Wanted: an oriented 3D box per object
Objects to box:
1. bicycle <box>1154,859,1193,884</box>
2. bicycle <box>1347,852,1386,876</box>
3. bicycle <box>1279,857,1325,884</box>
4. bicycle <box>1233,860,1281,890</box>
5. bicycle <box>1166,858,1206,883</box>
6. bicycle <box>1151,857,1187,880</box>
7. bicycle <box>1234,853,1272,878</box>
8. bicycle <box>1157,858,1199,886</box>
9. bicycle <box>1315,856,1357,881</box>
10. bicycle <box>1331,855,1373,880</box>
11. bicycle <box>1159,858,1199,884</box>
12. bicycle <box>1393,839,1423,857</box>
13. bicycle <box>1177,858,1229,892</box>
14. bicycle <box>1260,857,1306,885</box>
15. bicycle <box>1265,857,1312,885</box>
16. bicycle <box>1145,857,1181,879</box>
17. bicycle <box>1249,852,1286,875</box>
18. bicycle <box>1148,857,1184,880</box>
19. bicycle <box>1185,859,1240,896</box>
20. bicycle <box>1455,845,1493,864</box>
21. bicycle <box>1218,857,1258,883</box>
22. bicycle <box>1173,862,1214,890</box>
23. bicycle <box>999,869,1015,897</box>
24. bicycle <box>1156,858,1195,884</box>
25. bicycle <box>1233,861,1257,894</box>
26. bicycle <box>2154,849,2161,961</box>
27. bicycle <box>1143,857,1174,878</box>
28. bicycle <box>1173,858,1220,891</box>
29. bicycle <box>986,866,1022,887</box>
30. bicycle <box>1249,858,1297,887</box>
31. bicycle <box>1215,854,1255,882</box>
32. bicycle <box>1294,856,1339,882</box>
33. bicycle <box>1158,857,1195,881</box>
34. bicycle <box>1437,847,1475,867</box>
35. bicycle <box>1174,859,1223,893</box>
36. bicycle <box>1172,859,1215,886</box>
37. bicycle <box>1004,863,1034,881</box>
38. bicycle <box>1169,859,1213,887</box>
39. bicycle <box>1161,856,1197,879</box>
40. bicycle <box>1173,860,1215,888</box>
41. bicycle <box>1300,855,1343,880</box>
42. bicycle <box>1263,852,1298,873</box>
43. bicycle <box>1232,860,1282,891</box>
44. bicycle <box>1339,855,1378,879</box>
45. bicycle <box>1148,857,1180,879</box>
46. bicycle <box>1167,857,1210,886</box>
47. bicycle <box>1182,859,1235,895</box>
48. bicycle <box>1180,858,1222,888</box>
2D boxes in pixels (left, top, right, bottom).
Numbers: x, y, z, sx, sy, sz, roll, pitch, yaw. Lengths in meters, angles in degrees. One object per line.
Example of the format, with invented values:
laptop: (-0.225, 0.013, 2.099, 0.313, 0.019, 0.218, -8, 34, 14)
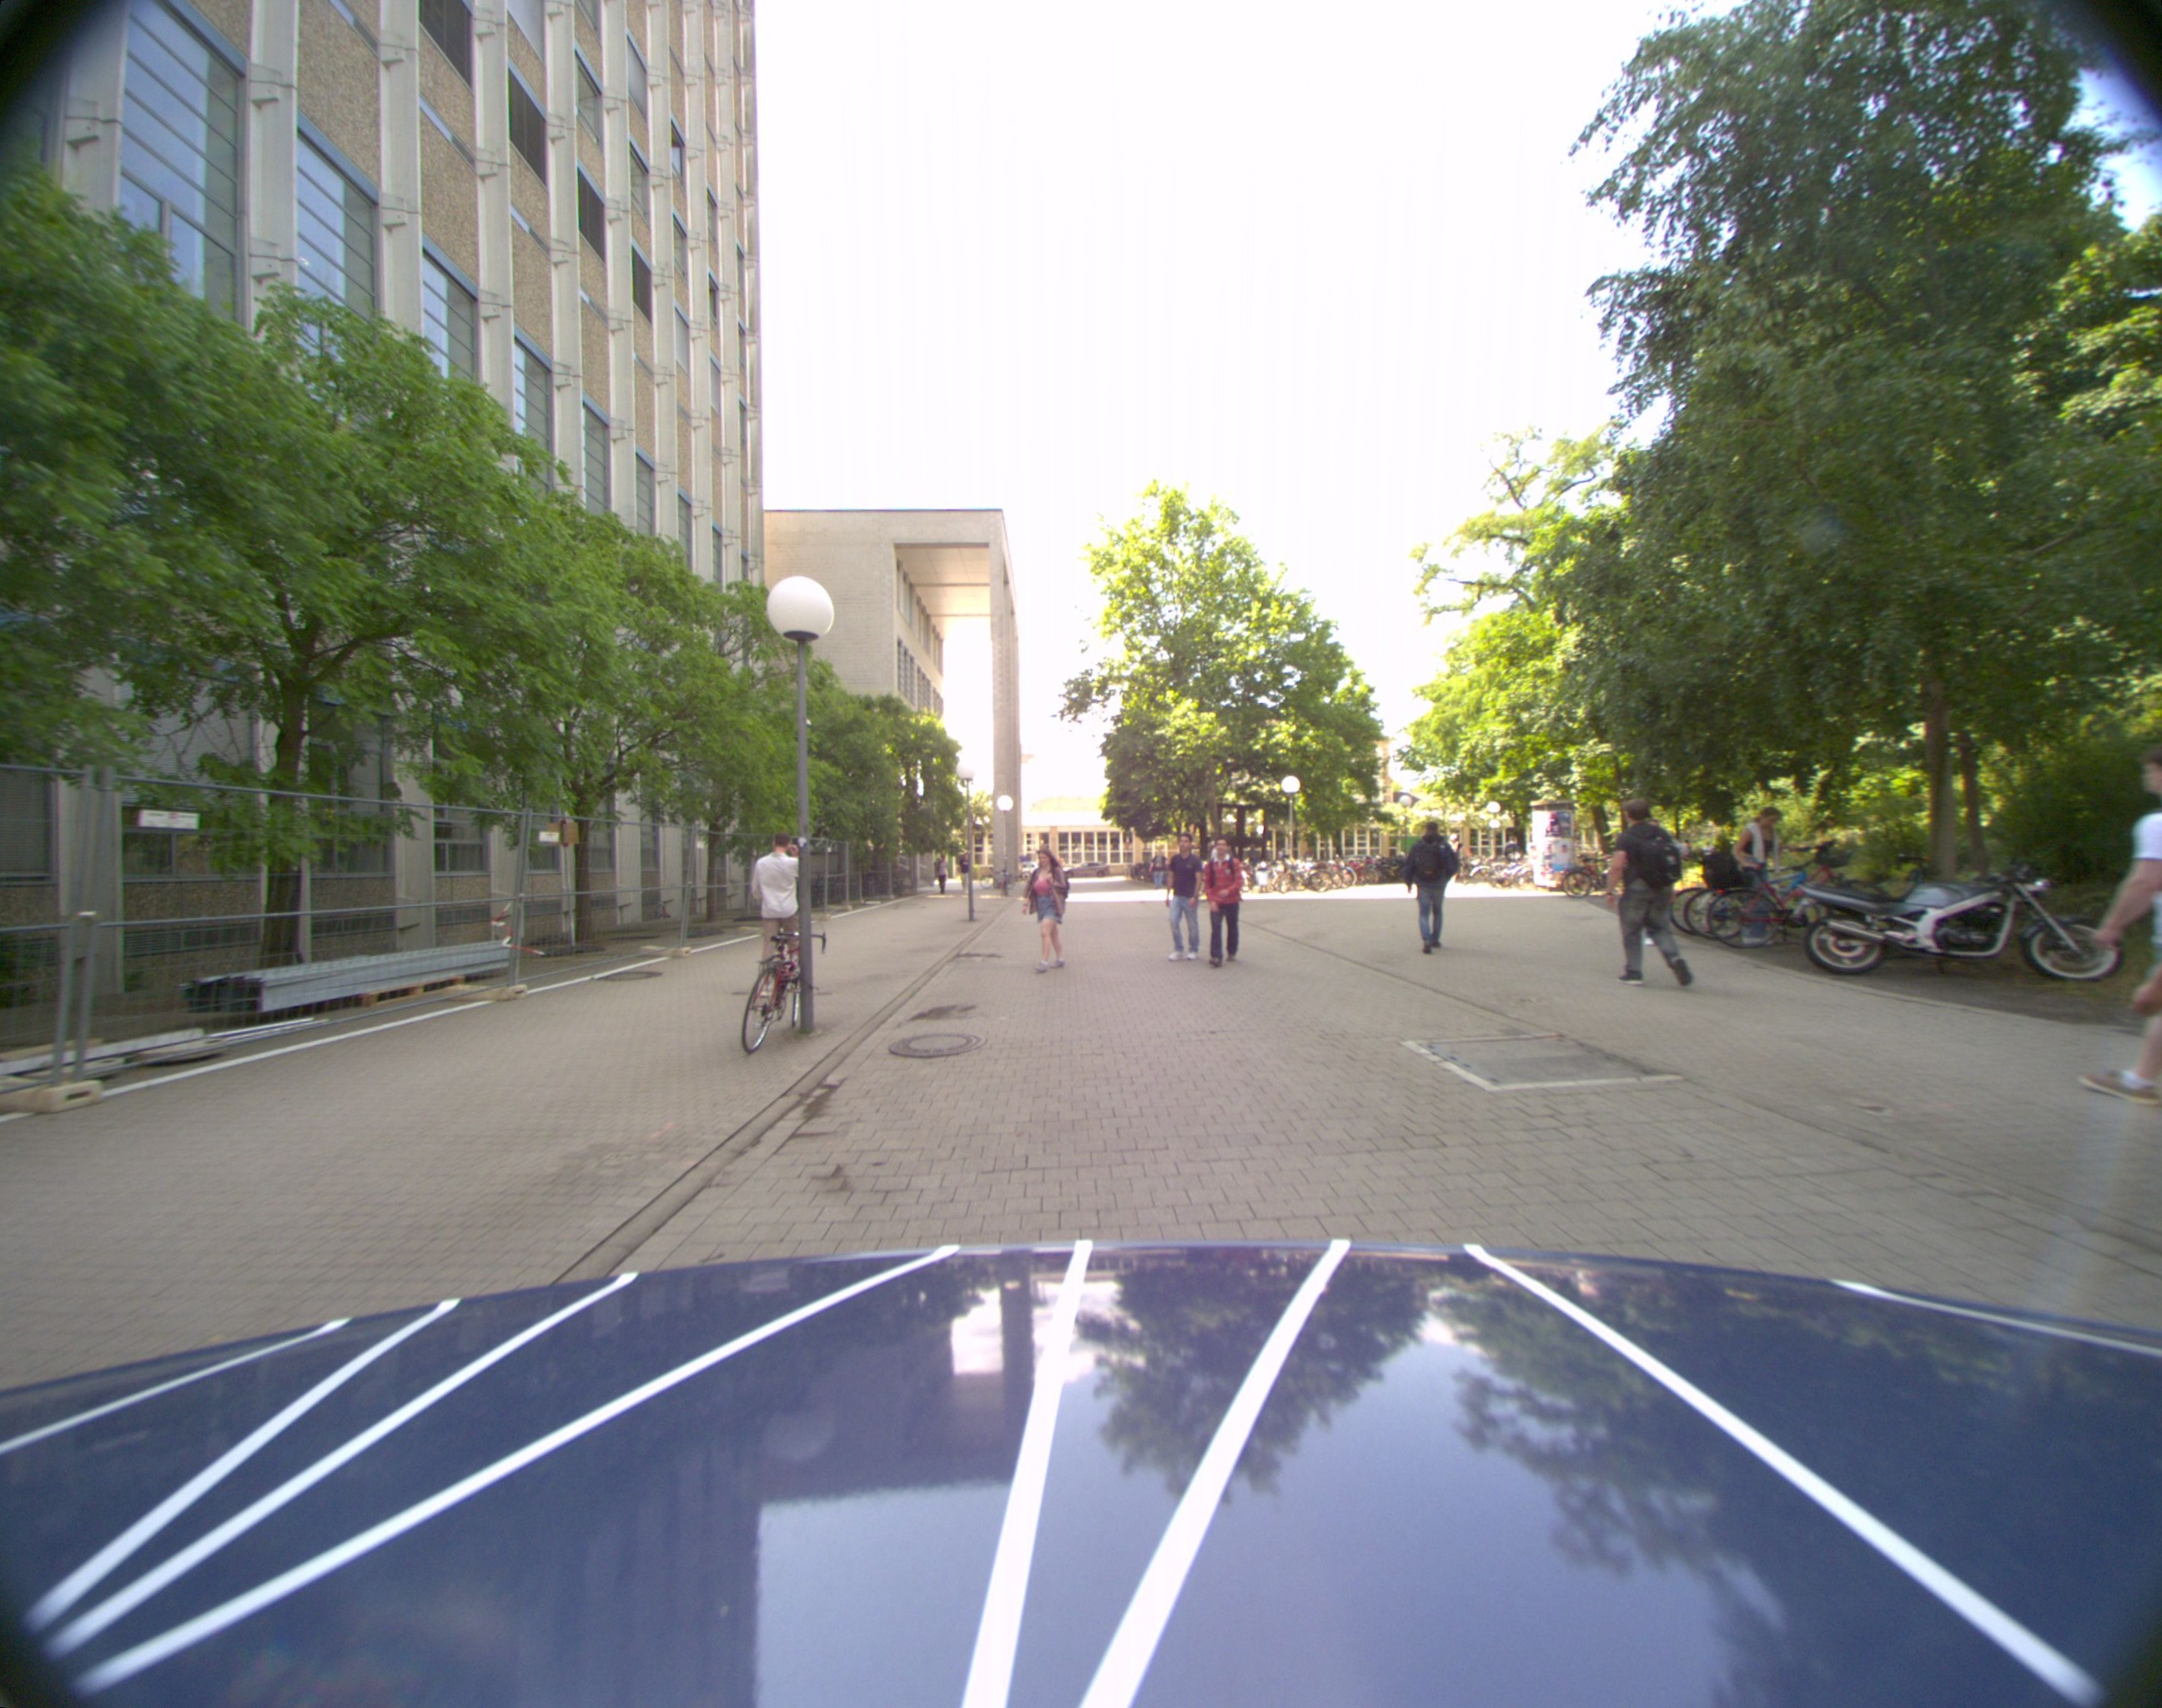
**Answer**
bicycle: (4.334, 0.803, 35.490, 1.700, 1.101, 0.496, -2, 1, -12)
bicycle: (13.600, 0.474, 36.245, 0.475, 1.077, 1.695, -2, 1, -39)
bicycle: (8.847, 0.659, 30.462, 1.695, 1.077, 0.475, -1, 1, 34)
bicycle: (6.587, 0.769, 28.431, 1.697, 1.077, 0.474, -1, 1, 12)
bicycle: (4.718, 0.734, 34.142, 1.700, 1.101, 0.473, -2, 1, -12)
bicycle: (4.497, 0.751, 38.729, 1.740, 1.120, 0.497, -2, 1, -6)
bicycle: (8.452, 0.563, 37.406, 1.695, 1.193, 0.577, -1, 1, 35)
bicycle: (4.284, 0.781, 33.533, 1.700, 1.191, 0.536, -2, 1, -9)
bicycle: (11.218, 0.640, 33.427, 1.695, 1.077, 0.475, -1, 1, 43)
bicycle: (12.188, 0.603, 34.204, 1.695, 1.077, 0.475, -1, 1, 43)
bicycle: (4.439, 0.753, 34.509, 1.700, 1.101, 0.473, -2, 1, -13)
bicycle: (23.682, -0.396, 54.978, 1.882, 1.164, 0.807, -4, -2, 28)
bicycle: (4.365, 0.763, 27.128, 1.778, 1.161, 0.474, -1, 1, 12)
bicycle: (8.050, 0.680, 30.311, 1.695, 1.077, 0.475, -1, 1, 30)
bicycle: (8.116, 0.674, 29.701, 1.695, 1.077, 0.475, -1, 1, 30)
bicycle: (4.340, 0.735, 40.218, 1.737, 1.101, 0.575, -1, 1, 18)
bicycle: (9.474, 0.484, 38.600, 1.695, 1.101, 0.504, -1, 1, 35)
bicycle: (4.395, 0.750, 39.347, 1.739, 1.101, 0.497, -2, 1, -1)
bicycle: (4.316, 0.759, 25.044, 1.700, 1.152, 0.474, -2, 1, -10)
bicycle: (22.566, 0.048, 43.657, 0.475, 1.077, 1.854, -2, 1, -39)
bicycle: (6.996, 0.708, 33.894, 1.700, 1.101, 0.502, -2, 1, -12)
bicycle: (4.390, 0.852, 29.629, 1.702, 1.013, 0.473, -2, 1, -36)
bicycle: (-2.996, 1.156, 30.839, 0.538, 1.033, 1.858, 0, 0, -2)
bicycle: (4.327, 0.757, 34.964, 1.700, 1.139, 0.473, -2, 1, -13)
bicycle: (5.647, 0.782, 26.221, 0.508, 1.077, 1.700, -2, 0, 2)
bicycle: (9.957, 0.488, 6.212, 0.473, 1.041, 1.702, -3, 1, 21)
bicycle: (4.245, 0.737, 41.481, 1.627, 1.101, 0.497, -1, 1, 12)
bicycle: (4.308, 0.753, 28.379, 1.701, 1.161, 0.473, -2, 1, -18)
bicycle: (-3.812, 1.124, 37.682, 1.744, 1.033, 0.449, 0, -1, -6)
bicycle: (7.333, 0.694, 29.110, 1.695, 1.077, 0.475, -1, 1, 34)
bicycle: (7.075, 0.647, 34.953, 1.700, 1.213, 0.502, -2, 1, -12)
bicycle: (9.847, 0.627, 31.776, 1.695, 1.077, 0.475, -1, 1, 34)
bicycle: (4.680, 0.728, 37.228, 1.741, 1.101, 0.496, -2, 1, -14)
bicycle: (20.778, 0.160, 42.129, 0.475, 1.077, 1.854, -2, 1, -39)
bicycle: (4.293, 0.804, 27.837, 1.700, 1.161, 0.473, -2, 1, -14)
bicycle: (4.835, 0.776, 32.715, 1.700, 1.101, 0.565, -2, 1, -12)
bicycle: (-4.089, 1.188, 50.045, 1.886, 1.157, 0.605, 1, -1, -6)
bicycle: (4.578, 0.790, 31.629, 1.700, 1.101, 0.582, -2, 1, -12)
bicycle: (4.913, 0.664, 38.086, 1.743, 1.101, 0.496, -2, 1, -25)
bicycle: (4.594, 0.800, 30.898, 1.702, 1.101, 0.473, -2, 1, -28)
bicycle: (10.355, 0.592, 32.769, 1.695, 1.077, 0.475, -1, 1, 34)
bicycle: (10.364, 0.445, 39.547, 1.695, 1.101, 0.504, -1, 1, 39)
bicycle: (6.321, 0.774, 27.352, 1.697, 1.077, 0.474, -1, 1, 11)
bicycle: (12.878, 0.593, 35.263, 0.475, 1.077, 1.695, -2, 1, -39)
bicycle: (4.467, 0.740, 40.875, 1.627, 1.137, 0.497, -1, 1, 12)
bicycle: (4.557, 0.739, 32.156, 1.700, 1.181, 0.473, -2, 1, -12)
bicycle: (4.408, 0.781, 26.277, 1.699, 1.161, 0.474, -2, 1, -7)
bicycle: (4.816, 0.743, 30.489, 1.702, 1.151, 0.473, -2, 1, -28)
